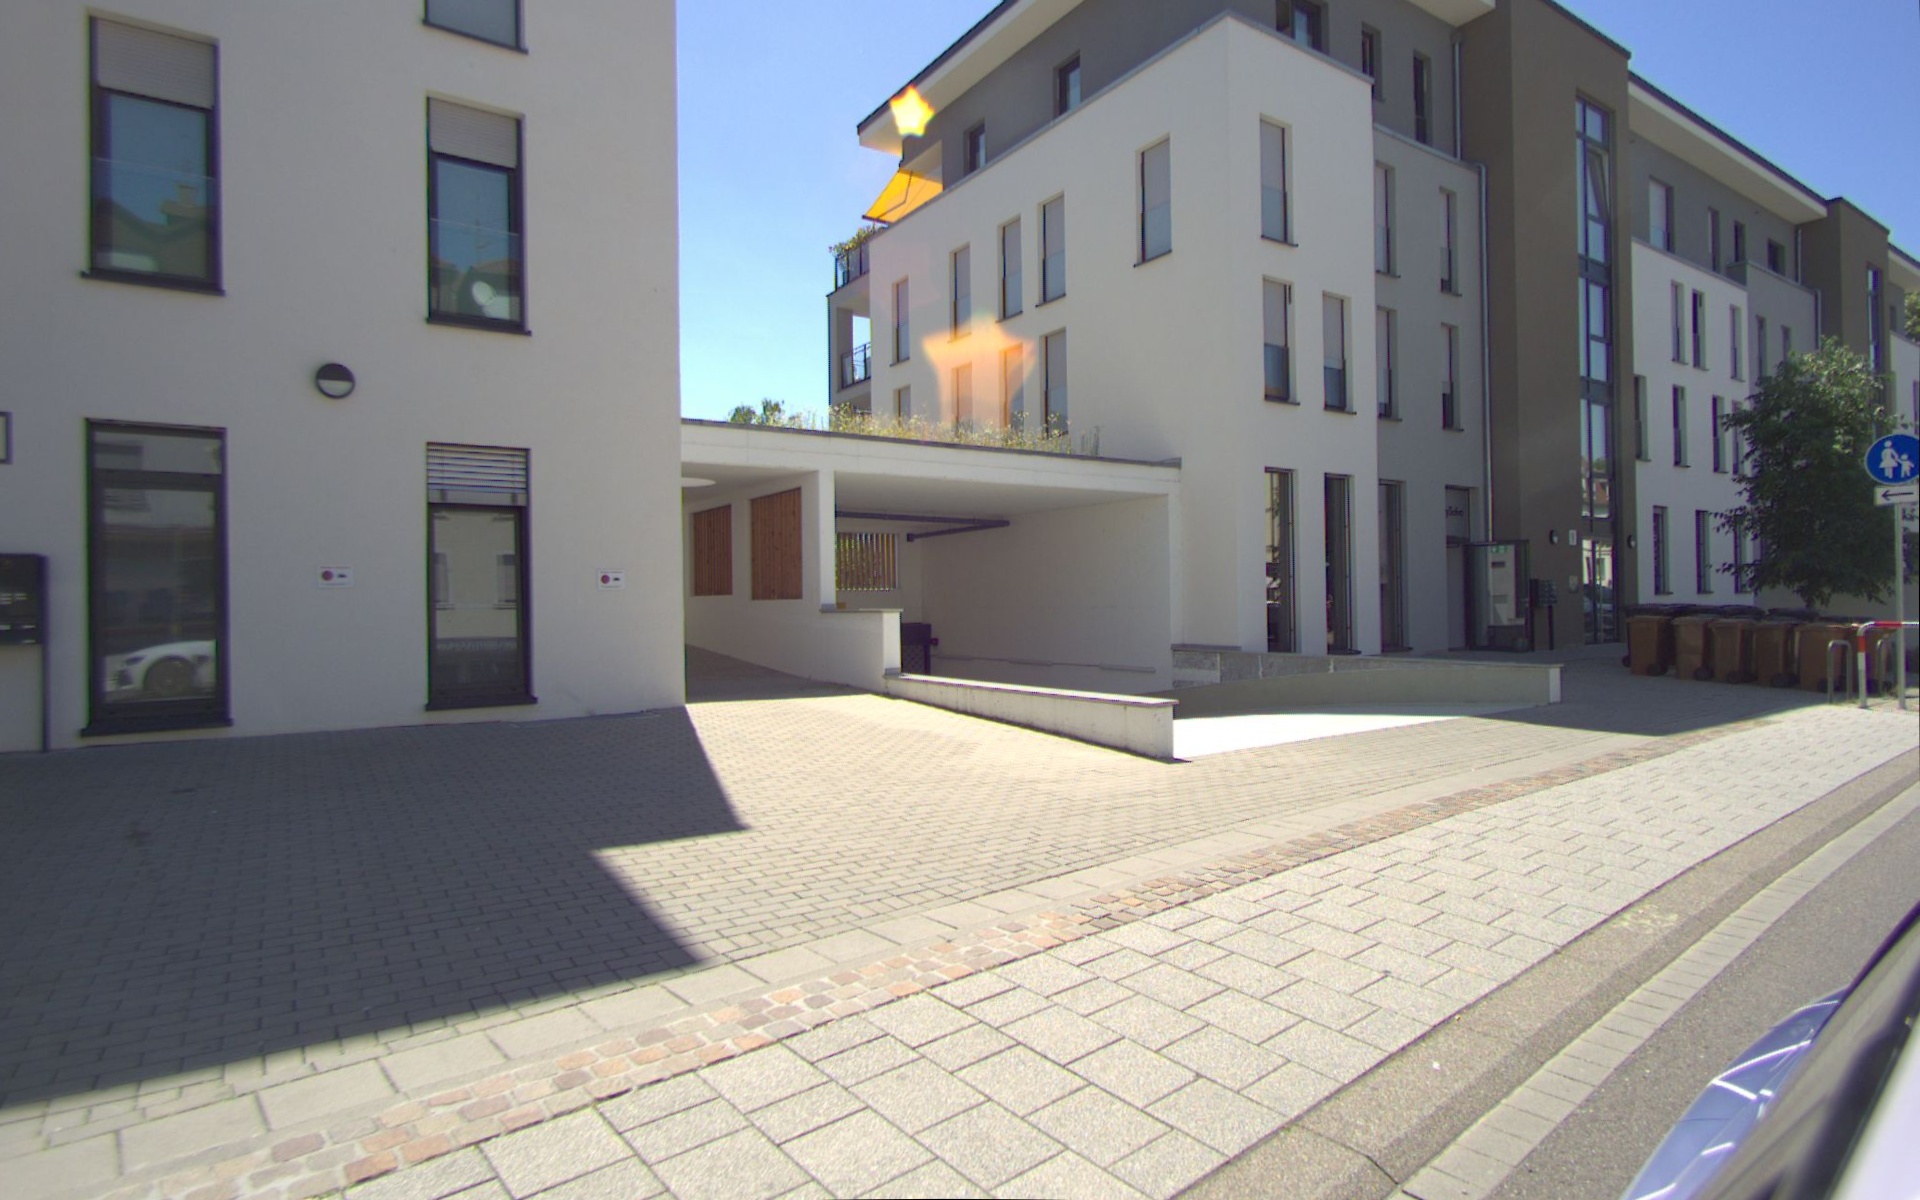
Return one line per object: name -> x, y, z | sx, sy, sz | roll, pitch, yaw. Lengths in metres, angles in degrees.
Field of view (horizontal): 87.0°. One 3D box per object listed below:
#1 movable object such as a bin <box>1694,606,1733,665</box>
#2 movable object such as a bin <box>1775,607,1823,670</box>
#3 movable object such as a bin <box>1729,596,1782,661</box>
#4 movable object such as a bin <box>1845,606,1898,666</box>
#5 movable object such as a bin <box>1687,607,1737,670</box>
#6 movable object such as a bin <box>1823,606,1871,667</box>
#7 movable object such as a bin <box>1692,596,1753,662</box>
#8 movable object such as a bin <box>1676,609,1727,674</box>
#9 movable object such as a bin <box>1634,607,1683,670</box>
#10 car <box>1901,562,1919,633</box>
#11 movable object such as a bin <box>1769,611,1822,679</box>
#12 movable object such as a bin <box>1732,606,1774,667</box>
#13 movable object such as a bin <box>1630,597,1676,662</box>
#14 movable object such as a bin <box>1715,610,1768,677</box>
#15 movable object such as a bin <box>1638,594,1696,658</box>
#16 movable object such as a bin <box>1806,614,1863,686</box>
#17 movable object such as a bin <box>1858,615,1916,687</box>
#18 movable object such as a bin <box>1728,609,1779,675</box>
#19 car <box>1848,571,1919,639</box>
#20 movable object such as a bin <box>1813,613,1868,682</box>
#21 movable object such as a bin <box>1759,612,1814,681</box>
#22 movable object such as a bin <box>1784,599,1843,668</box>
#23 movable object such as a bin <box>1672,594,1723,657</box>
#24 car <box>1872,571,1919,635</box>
movable object such as a bin -> 12.480, 0.574, 16.766 | 0.479, 0.935, 0.432 | 1, 2, 33
movable object such as a bin -> 13.164, 0.593, 15.881 | 0.513, 0.935, 0.432 | 1, 2, 33
movable object such as a bin -> 13.669, 0.474, 17.382 | 0.646, 1.073, 0.615 | 2, 2, 44
movable object such as a bin -> 14.939, 0.578, 16.589 | 0.457, 0.942, 0.562 | -1, 2, -40
movable object such as a bin -> 11.707, 0.592, 15.757 | 0.512, 0.942, 0.467 | -1, 1, -34
movable object such as a bin -> 14.351, 0.580, 16.372 | 0.457, 0.942, 0.513 | -1, 2, -40
movable object such as a bin -> 12.973, 0.476, 17.220 | 0.613, 1.073, 0.648 | -1, 2, -33
movable object such as a bin -> 11.249, 0.618, 15.360 | 0.518, 0.942, 0.475 | -1, 1, -34
movable object such as a bin -> 11.009, 0.592, 15.942 | 0.518, 0.942, 0.475 | -1, 1, -34
car -> 26.045, -0.079, 25.000 | 1.806, 1.809, 3.820 | -1, 1, -36
movable object such as a bin -> 12.285, 0.651, 14.878 | 0.512, 0.942, 0.467 | -1, 1, -34
movable object such as a bin -> 12.839, 0.578, 16.386 | 0.479, 0.935, 0.432 | 1, 2, 33
movable object such as a bin -> 11.803, 0.486, 17.239 | 0.568, 1.054, 0.552 | 2, 2, 42
movable object such as a bin -> 11.547, 0.630, 14.947 | 0.518, 0.942, 0.475 | -1, 1, -34
movable object such as a bin -> 12.486, 0.446, 17.877 | 0.613, 1.073, 0.648 | -1, 2, -33
movable object such as a bin -> 12.141, 0.677, 14.047 | 0.518, 0.942, 0.475 | -1, 1, -34
movable object such as a bin -> 12.825, 0.687, 13.998 | 0.518, 0.942, 0.475 | -1, 1, -34
movable object such as a bin -> 12.004, 0.623, 15.312 | 0.512, 0.942, 0.467 | -1, 1, -34
car -> 22.024, 0.128, 22.095 | 1.505, 1.463, 3.672 | -1, 2, -32
movable object such as a bin -> 12.573, 0.669, 14.457 | 0.518, 0.942, 0.469 | -1, 1, -34
movable object such as a bin -> 11.843, 0.657, 14.511 | 0.518, 0.942, 0.475 | -1, 1, -34
movable object such as a bin -> 13.767, 0.526, 16.327 | 0.549, 1.073, 0.571 | -1, 2, -33
movable object such as a bin -> 13.195, 0.447, 18.114 | 0.646, 1.073, 0.615 | 2, 2, 44
car -> 23.789, 0.071, 23.337 | 1.745, 1.501, 3.820 | -1, 1, -36
